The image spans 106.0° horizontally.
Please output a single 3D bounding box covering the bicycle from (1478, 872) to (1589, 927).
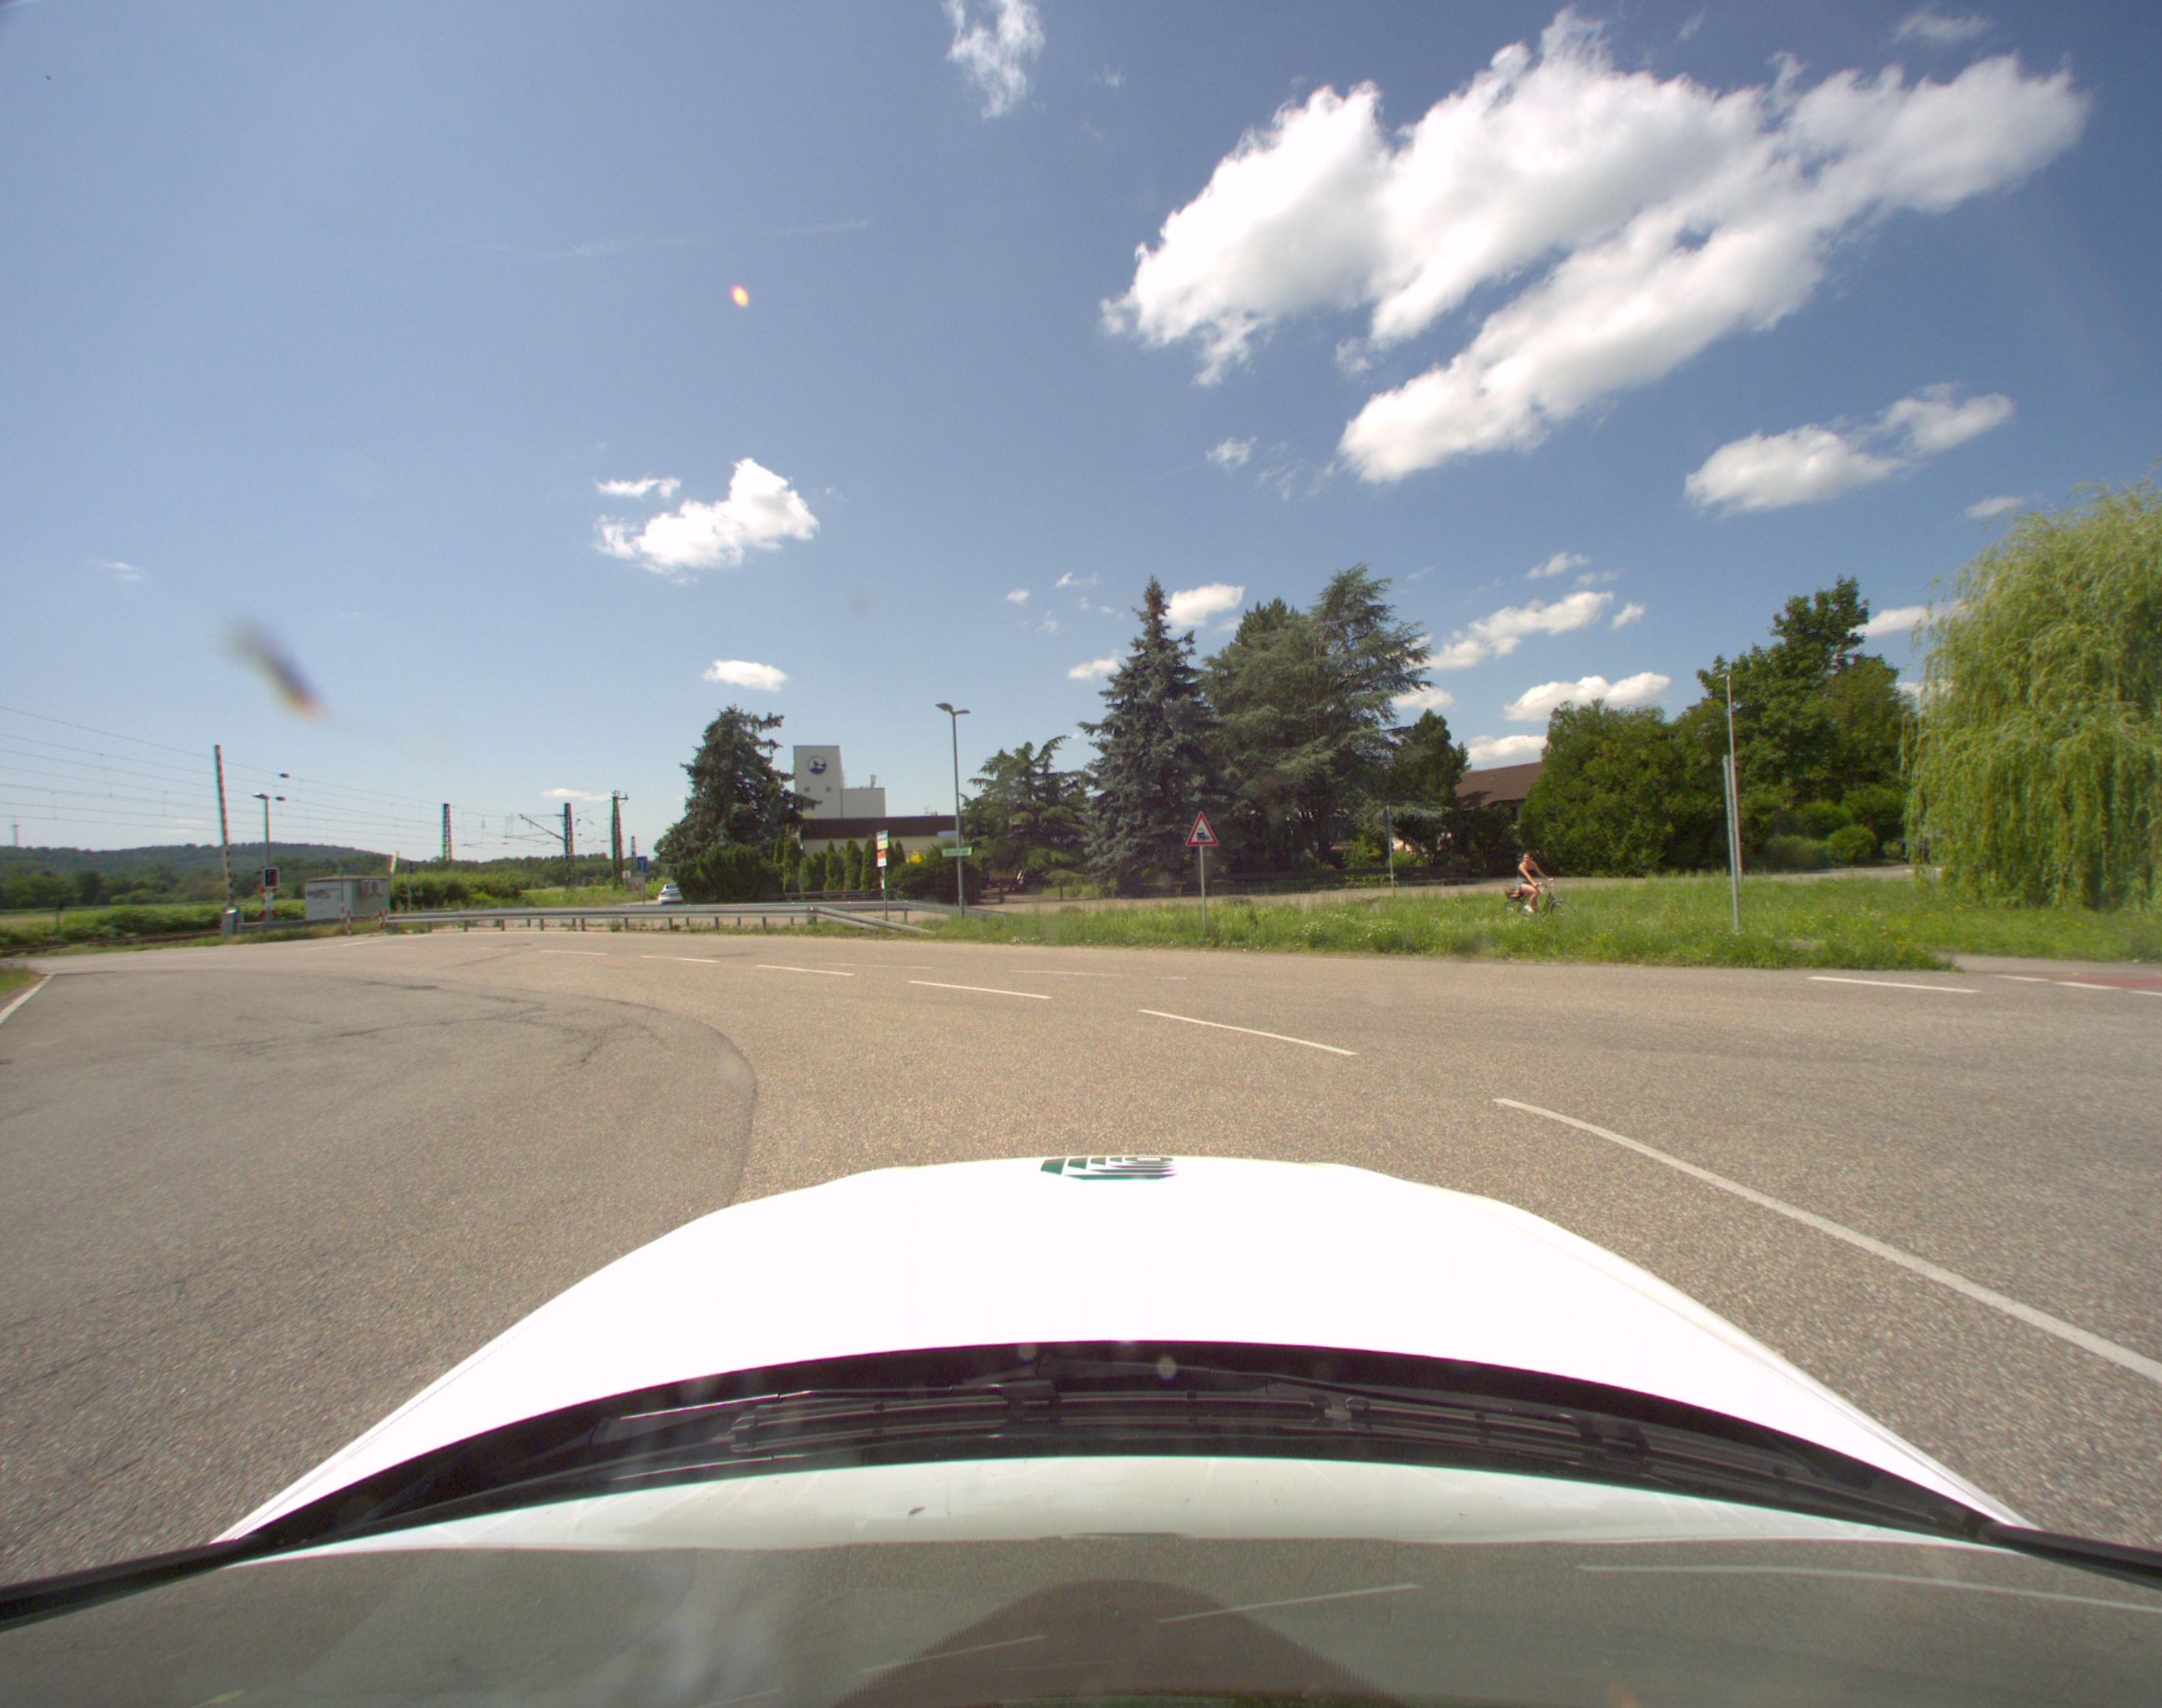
[{"bbox_3d":[10.377,1.012,18.752,0.664,1.165,2.124,-2,0,-34],"label":"bicycle"}]

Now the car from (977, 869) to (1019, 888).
[{"bbox_3d":[-7.620,2.213,74.688,3.535,1.585,1.555,-2,0,-19],"label":"car"}]

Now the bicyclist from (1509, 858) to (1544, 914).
[{"bbox_3d":[10.310,0.736,18.836,0.471,1.255,0.506,-1,-1,-33],"label":"bicyclist"}]

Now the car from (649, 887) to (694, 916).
[{"bbox_3d":[-25.440,2.910,50.684,2.001,1.510,4.422,-2,0,-21],"label":"car"}]
